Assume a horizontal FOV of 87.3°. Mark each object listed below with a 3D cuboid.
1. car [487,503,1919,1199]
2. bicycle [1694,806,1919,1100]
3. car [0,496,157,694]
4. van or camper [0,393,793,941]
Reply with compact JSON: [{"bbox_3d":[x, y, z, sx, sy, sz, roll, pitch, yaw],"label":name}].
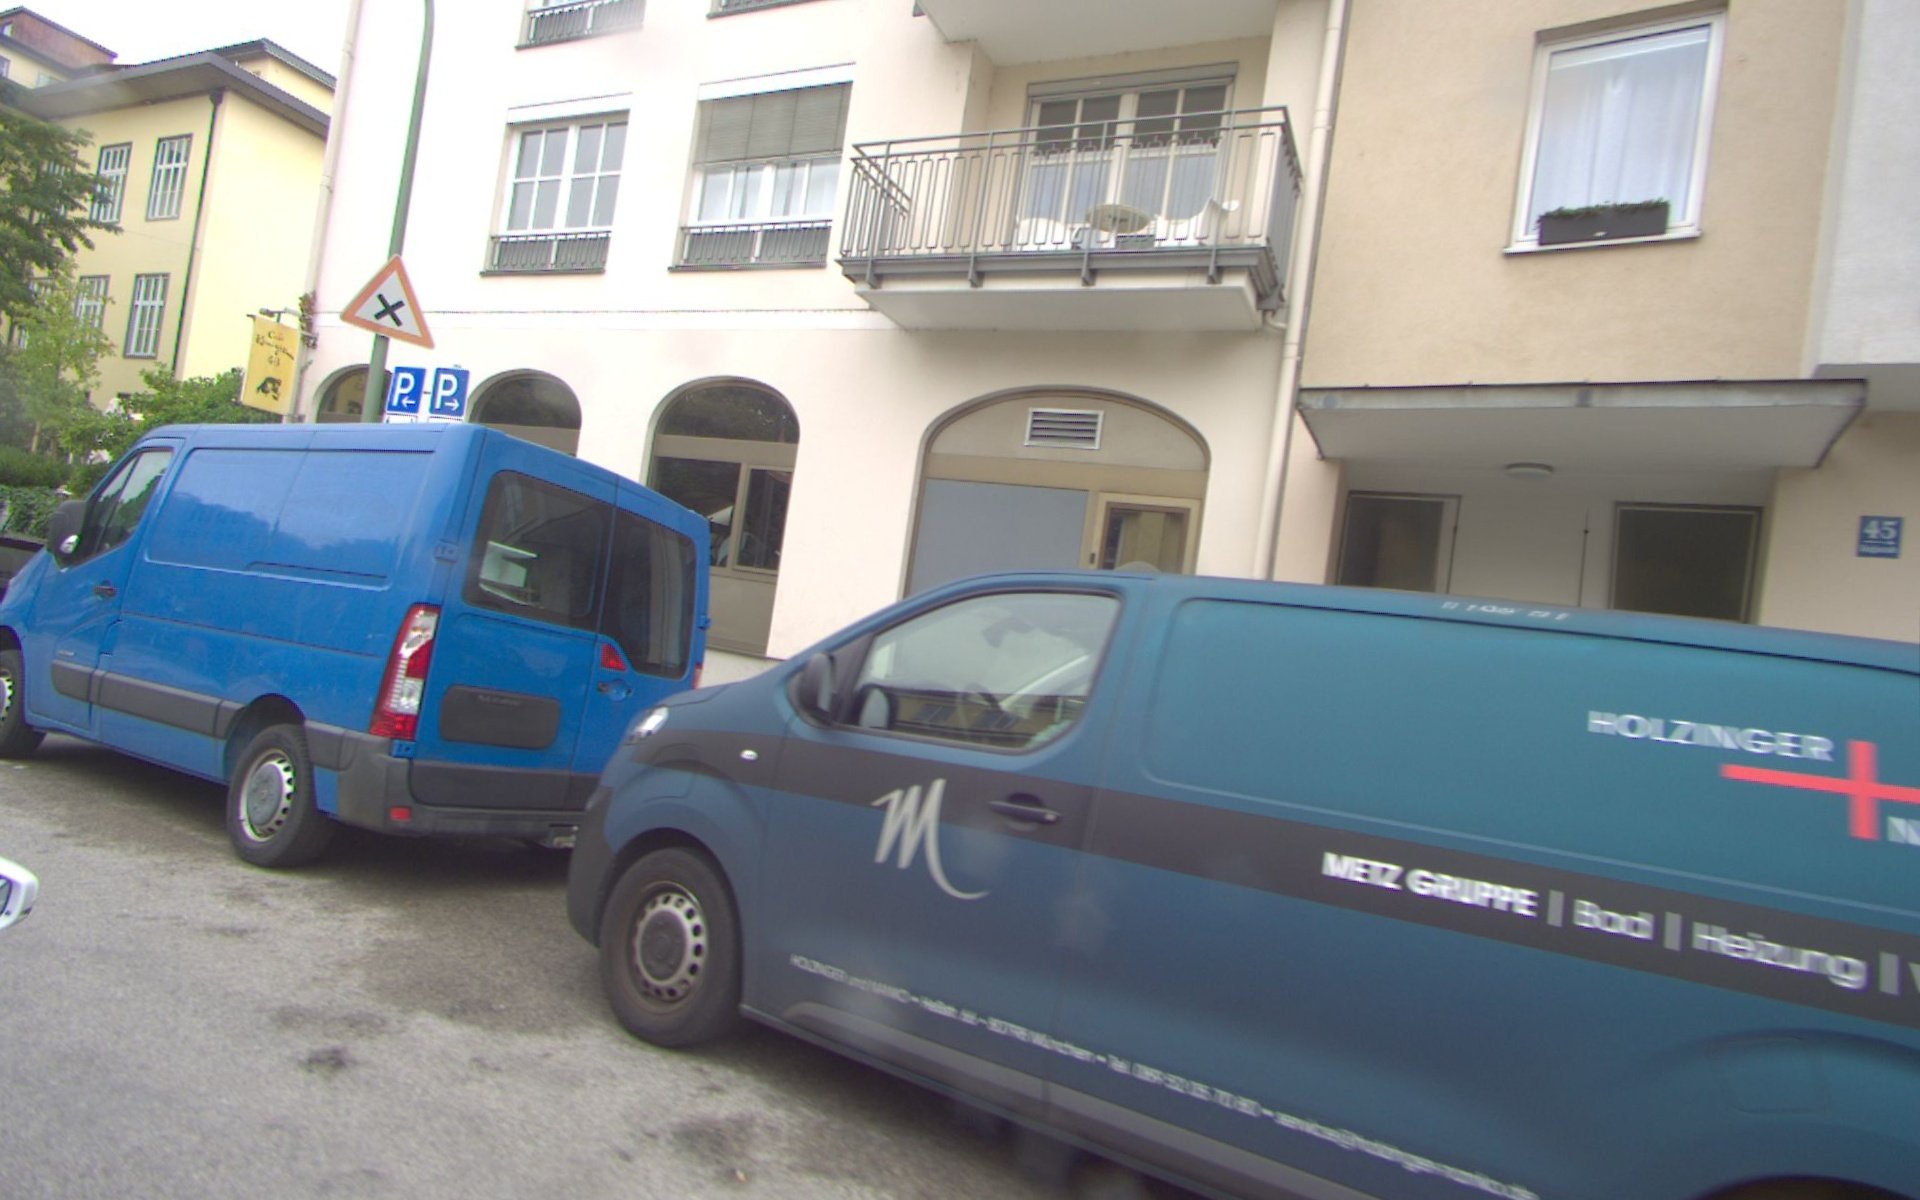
[{"bbox_3d":[0.851,0.933,3.566,4.852,1.834,1.972,7,-5,31],"label":"car"},{"bbox_3d":[5.307,1.943,5.260,2.171,1.200,1.149,7,-2,32],"label":"bicycle"},{"bbox_3d":[-9.506,-0.279,9.183,3.888,1.532,1.712,8,-5,26],"label":"car"},{"bbox_3d":[-3.988,0.168,6.394,5.344,2.252,2.070,7,-6,29],"label":"van or camper"}]
